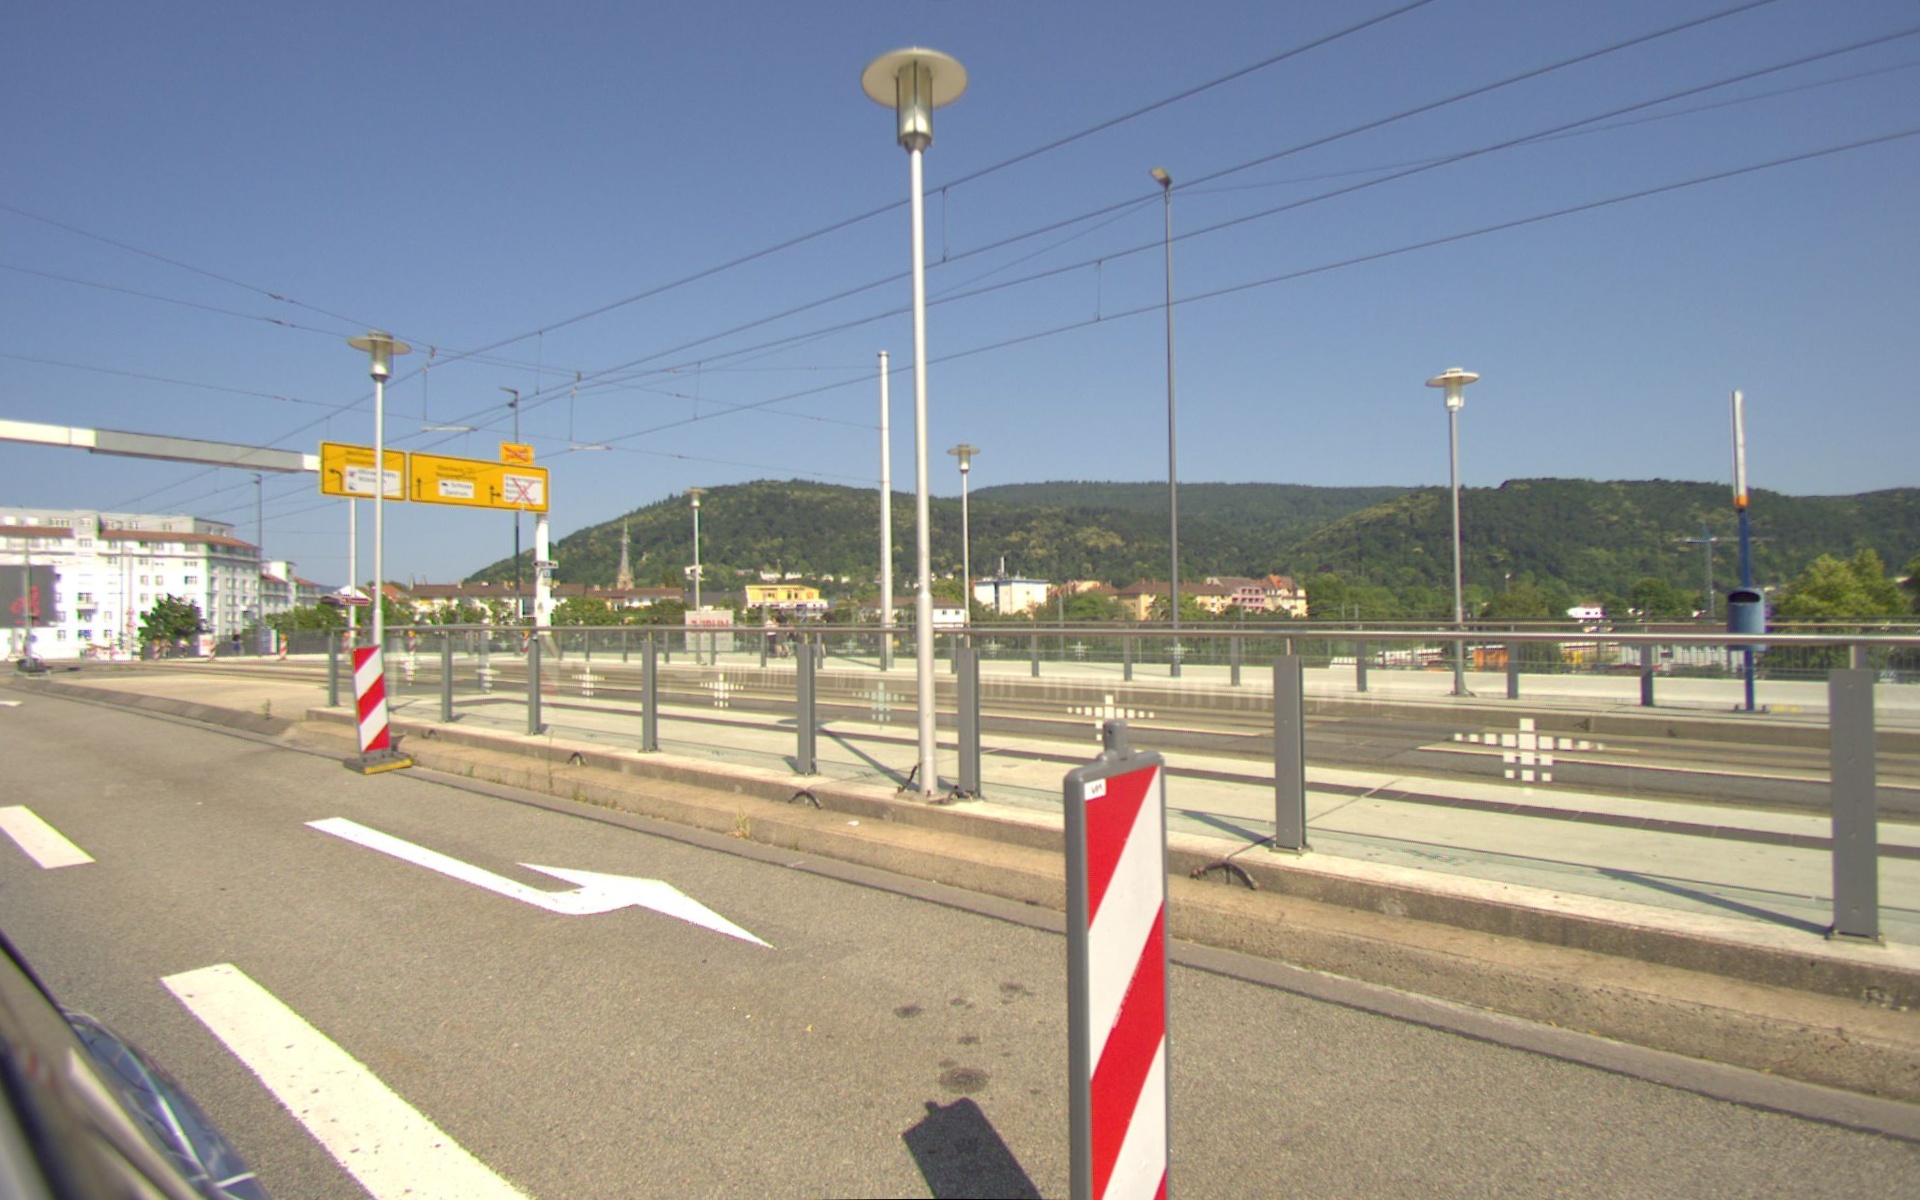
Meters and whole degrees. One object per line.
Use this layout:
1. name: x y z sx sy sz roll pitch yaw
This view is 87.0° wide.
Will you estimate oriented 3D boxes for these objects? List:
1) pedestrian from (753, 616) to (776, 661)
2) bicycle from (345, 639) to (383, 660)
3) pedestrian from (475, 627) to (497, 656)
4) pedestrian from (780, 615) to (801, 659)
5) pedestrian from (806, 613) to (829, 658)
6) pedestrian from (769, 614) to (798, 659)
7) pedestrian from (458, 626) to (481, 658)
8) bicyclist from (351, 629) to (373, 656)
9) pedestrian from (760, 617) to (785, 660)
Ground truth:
1. pedestrian: -7.626 1.500 39.450 0.807 1.700 0.481 -3 -3 41
2. bicycle: -35.689 2.985 60.547 3.067 1.204 0.848 -3 -2 37
3. pedestrian: -25.934 2.275 55.405 0.887 1.556 0.713 -3 0 38
4. pedestrian: -6.553 1.424 39.130 0.770 1.700 0.379 -3 -3 41
5. pedestrian: -5.431 1.352 38.595 0.772 1.700 0.498 -3 -3 41
6. pedestrian: -6.688 1.384 38.353 0.731 1.700 0.745 -3 -3 41
7. pedestrian: -26.604 2.279 54.880 0.893 1.654 0.737 -3 0 38
8. bicyclist: -35.803 2.538 60.624 0.816 1.530 0.848 -3 -2 37
9. pedestrian: -7.461 1.532 40.177 0.817 1.700 0.591 -3 -3 41
